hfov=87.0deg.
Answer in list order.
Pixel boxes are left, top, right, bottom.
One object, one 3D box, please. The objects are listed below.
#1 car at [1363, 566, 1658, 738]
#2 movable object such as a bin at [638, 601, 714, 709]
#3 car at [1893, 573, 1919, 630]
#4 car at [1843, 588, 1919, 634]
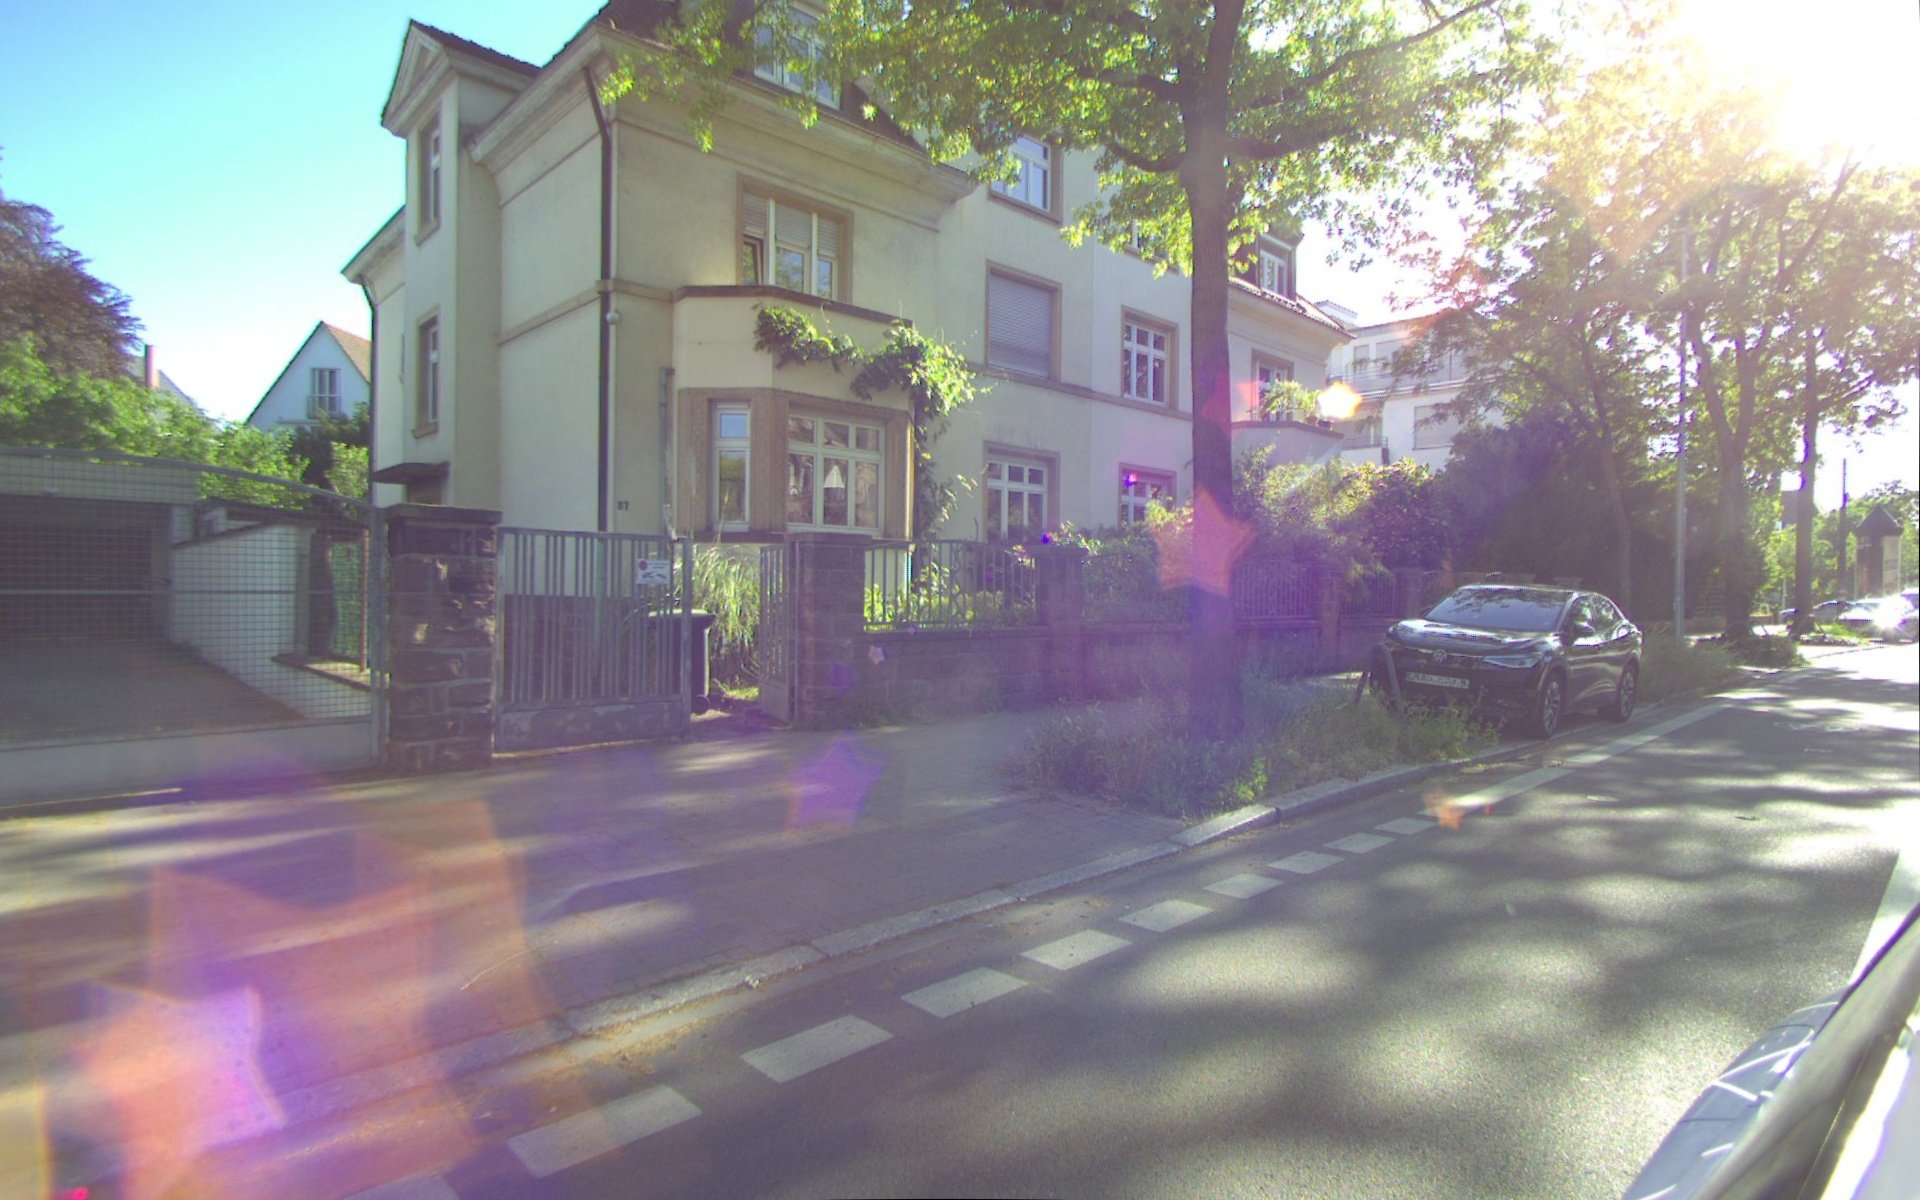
[{"bbox_3d":[6.658,0.496,12.069,4.021,1.626,1.743,0,4,-42],"label":"car"},{"bbox_3d":[-3.060,0.556,10.865,0.697,1.070,1.093,0,0,-20],"label":"movable object such as a bin"},{"bbox_3d":[36.785,0.056,38.077,4.503,2.039,1.997,0,1,-41],"label":"car"},{"bbox_3d":[31.550,0.342,34.416,3.930,1.469,1.785,0,1,-41],"label":"car"}]
